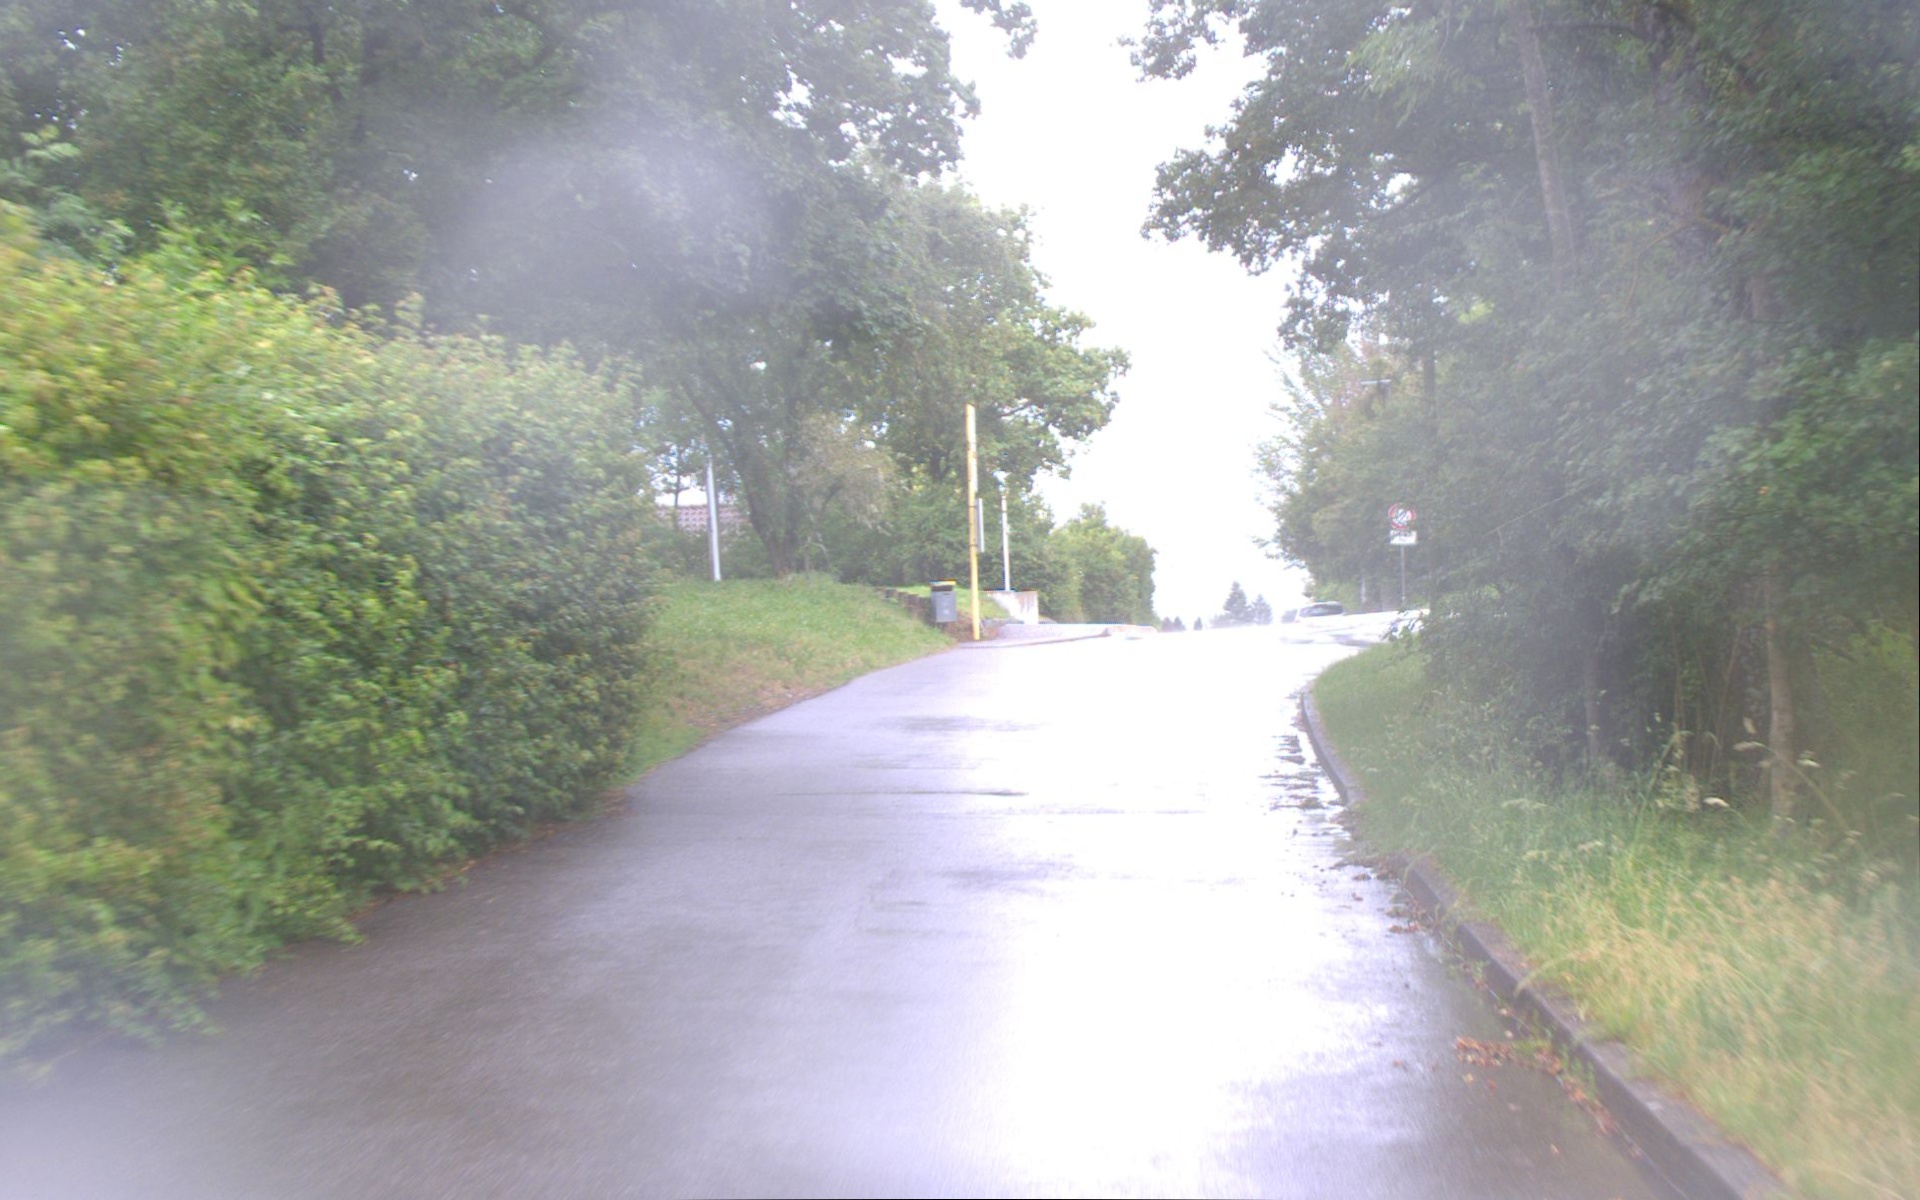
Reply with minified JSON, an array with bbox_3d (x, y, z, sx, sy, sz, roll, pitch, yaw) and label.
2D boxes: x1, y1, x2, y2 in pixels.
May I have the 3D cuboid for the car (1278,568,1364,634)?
[{"bbox_3d":[10.013,0.052,95.106,1.994,1.578,3.997,-2,-3,11],"label":"car"}]
